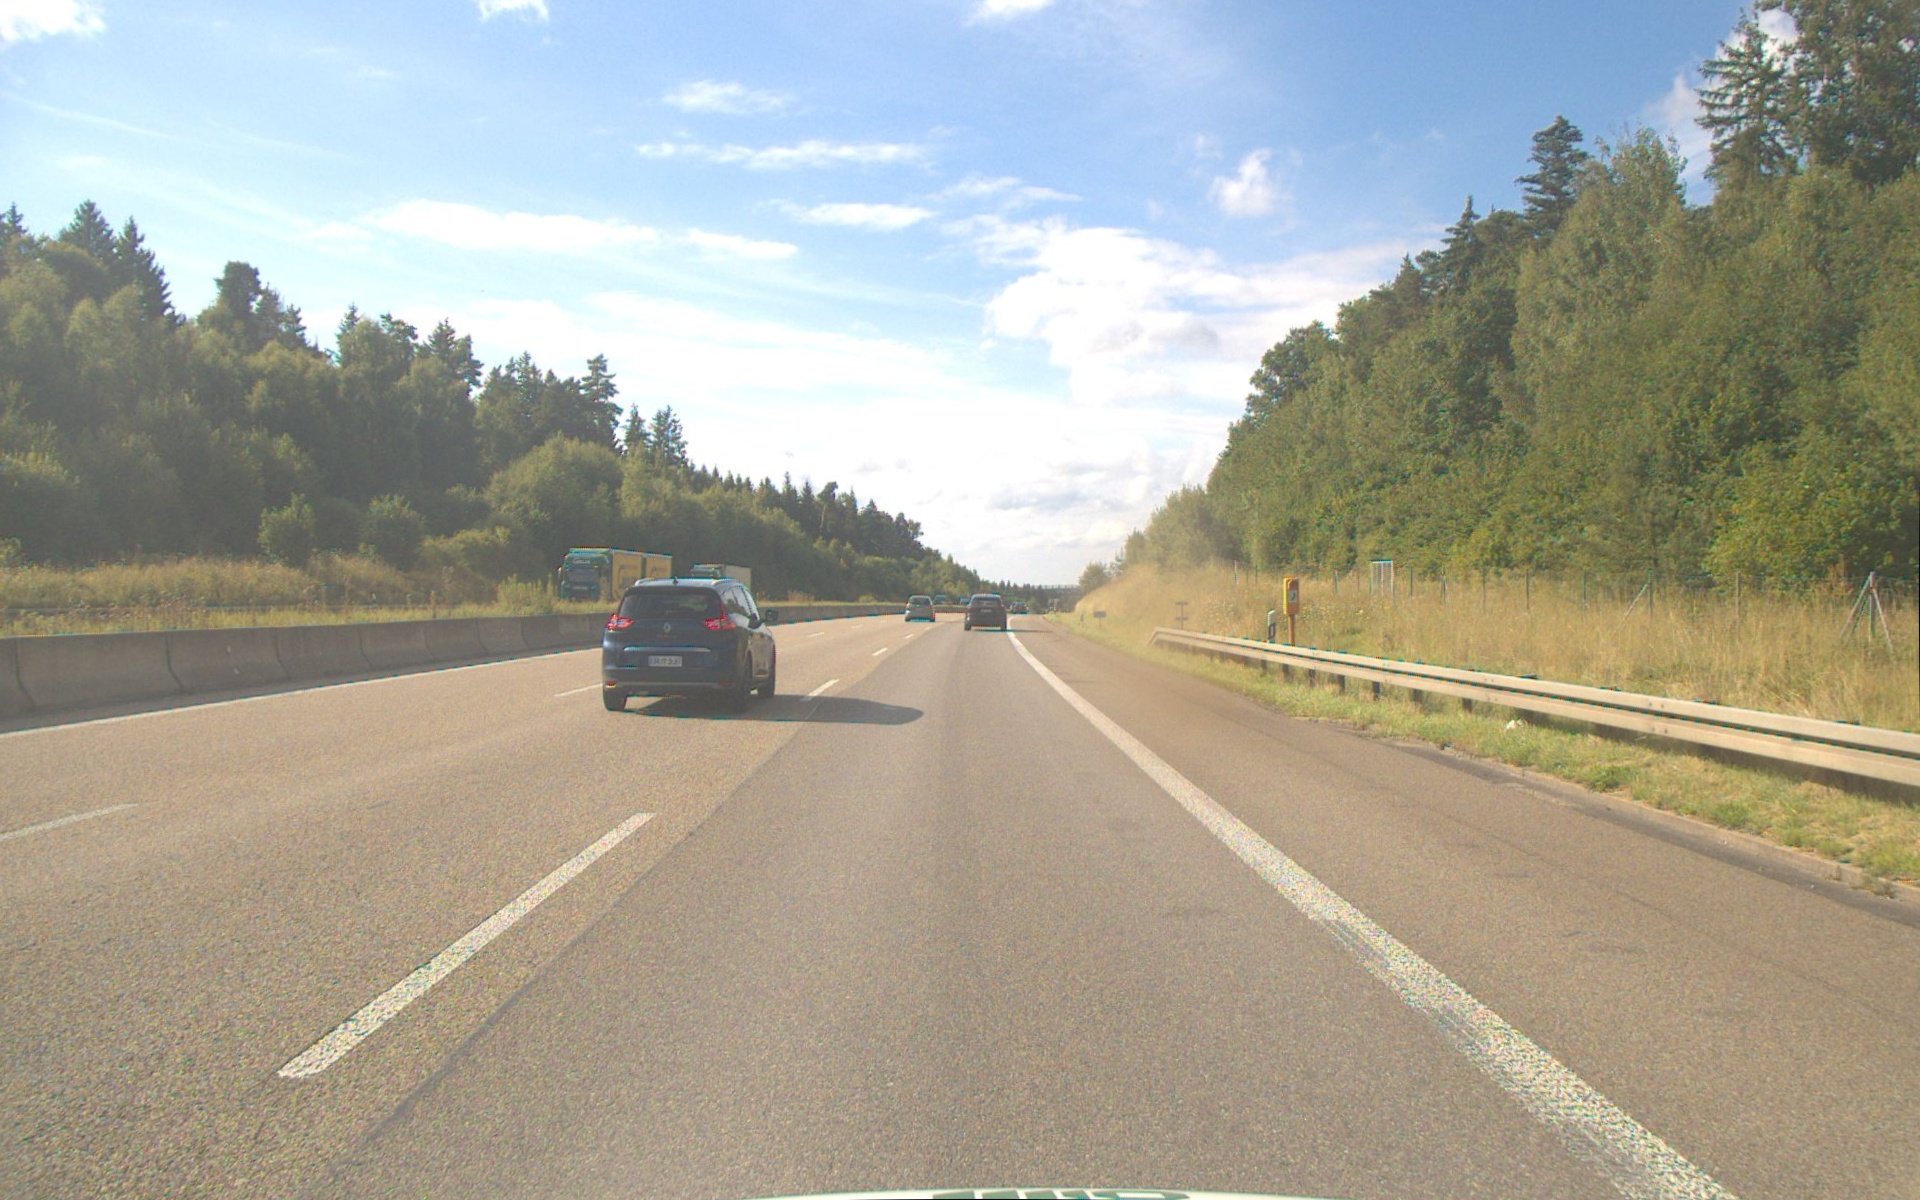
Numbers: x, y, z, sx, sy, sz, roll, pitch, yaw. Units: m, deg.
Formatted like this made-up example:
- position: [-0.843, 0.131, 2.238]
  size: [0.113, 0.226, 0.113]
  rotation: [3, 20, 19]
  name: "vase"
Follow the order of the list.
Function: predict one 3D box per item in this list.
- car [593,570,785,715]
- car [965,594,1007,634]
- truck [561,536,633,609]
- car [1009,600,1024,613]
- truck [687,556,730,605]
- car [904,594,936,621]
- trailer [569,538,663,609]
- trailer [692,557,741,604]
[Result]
- position: [-3.545, 0.506, 22.429]
  size: [1.953, 1.736, 4.528]
  rotation: [1, 0, -2]
  name: "car"
- position: [1.198, 0.609, 75.271]
  size: [1.835, 1.704, 3.890]
  rotation: [1, 1, 1]
  name: "car"
- position: [-21.428, -1.572, 97.915]
  size: [2.594, 4.157, 6.418]
  rotation: [1, 0, 2]
  name: "truck"
- position: [7.648, 0.899, 223.581]
  size: [1.775, 1.735, 3.999]
  rotation: [1, 1, -1]
  name: "car"
- position: [-20.543, -1.584, 135.267]
  size: [2.638, 3.814, 5.169]
  rotation: [1, 0, -1]
  name: "truck"
- position: [-2.492, 0.467, 102.030]
  size: [1.836, 1.523, 3.878]
  rotation: [1, 1, -3]
  name: "car"
- position: [-21.254, -1.582, 102.986]
  size: [2.594, 4.157, 13.205]
  rotation: [1, 0, 2]
  name: "trailer"
- position: [-20.576, -1.623, 140.260]
  size: [2.624, 3.783, 10.005]
  rotation: [1, 0, 0]
  name: "trailer"
